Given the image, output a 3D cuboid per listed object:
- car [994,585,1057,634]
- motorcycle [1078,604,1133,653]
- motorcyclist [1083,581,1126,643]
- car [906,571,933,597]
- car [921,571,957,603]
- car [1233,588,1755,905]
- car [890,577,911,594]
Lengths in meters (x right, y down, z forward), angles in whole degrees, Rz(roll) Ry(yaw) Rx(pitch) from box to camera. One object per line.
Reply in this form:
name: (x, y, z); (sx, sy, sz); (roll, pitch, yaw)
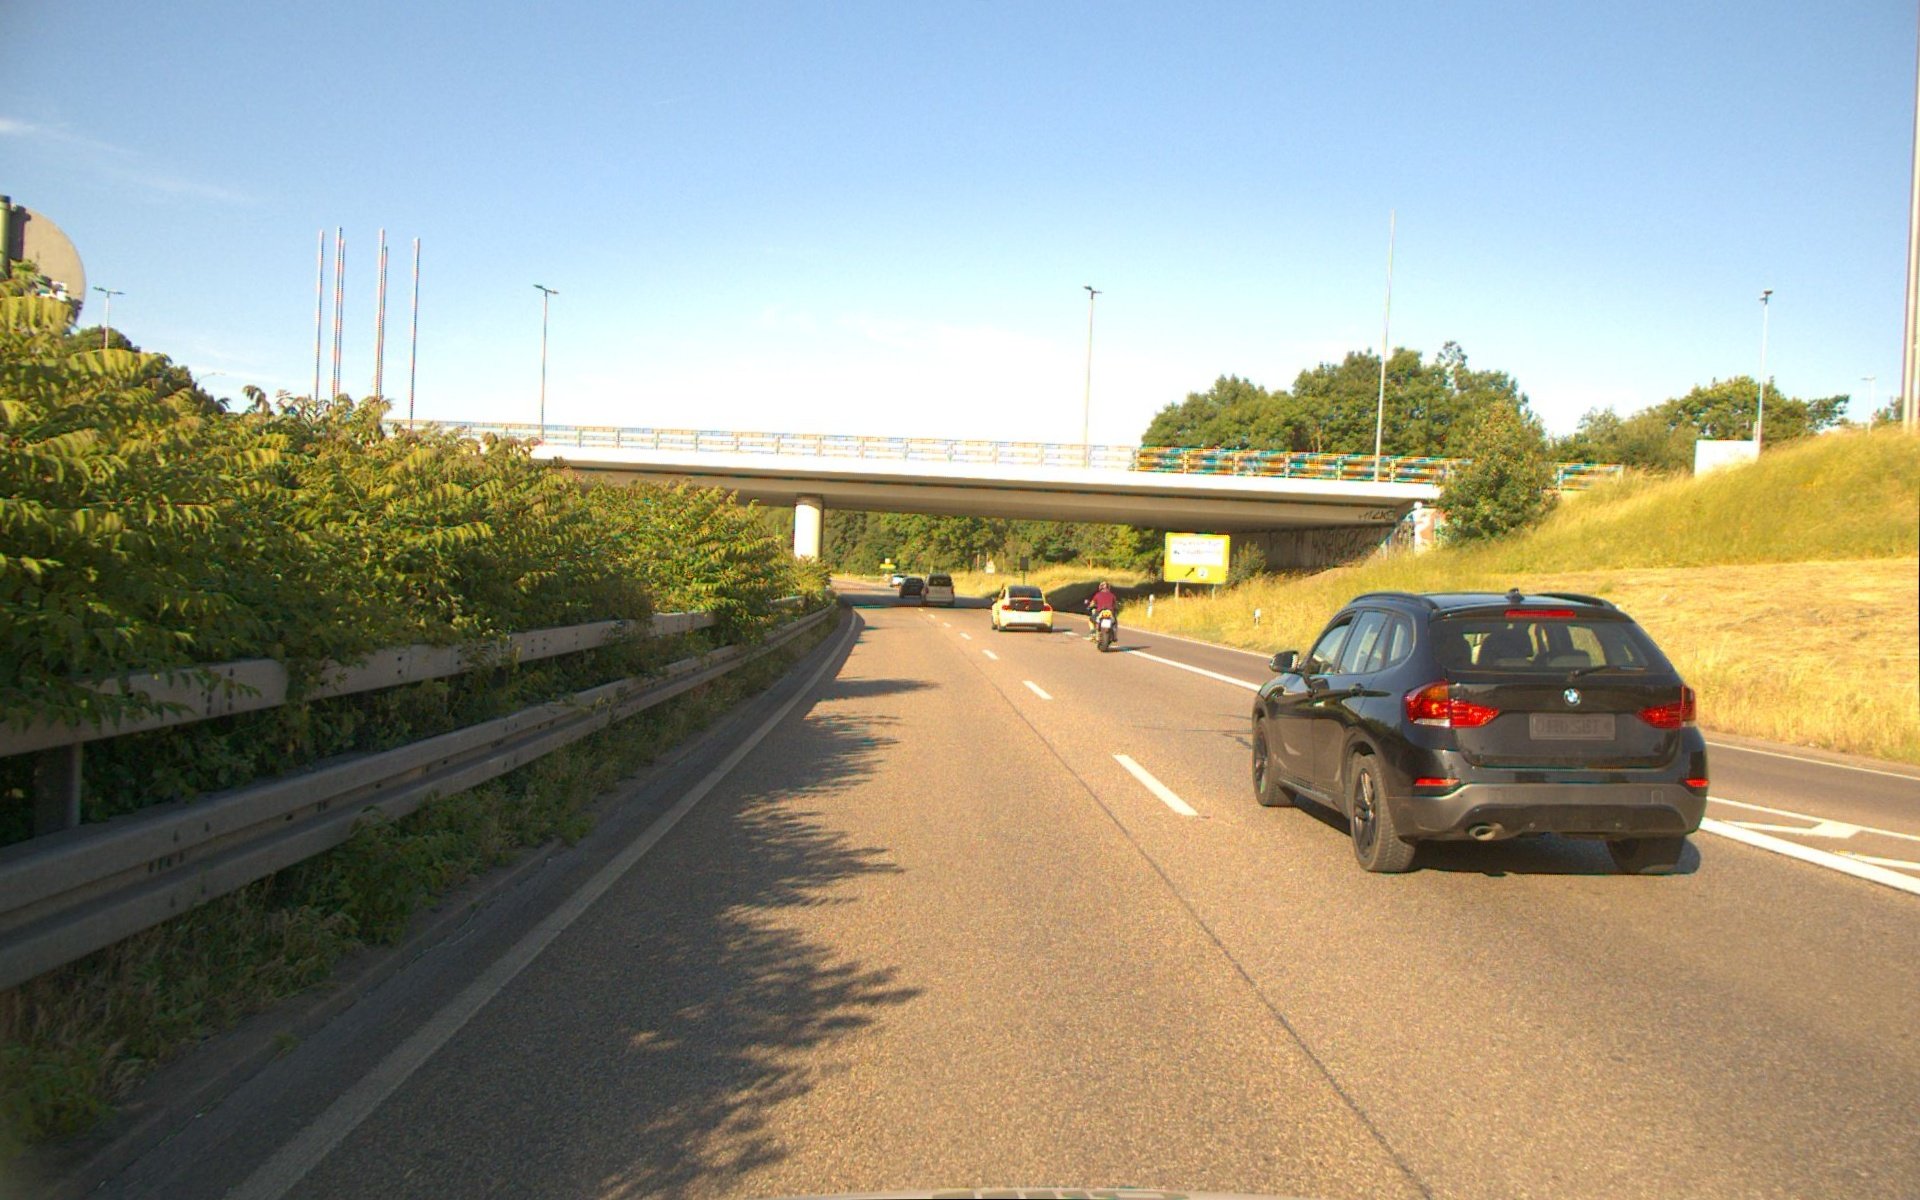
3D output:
car: (2.110, 0.283, 54.446); (1.858, 1.496, 3.999); (1, 0, -1)
motorcycle: (3.497, 0.667, 40.000); (0.801, 1.088, 2.832); (1, 1, -6)
motorcyclist: (3.498, 0.284, 40.071); (0.801, 1.472, 1.092); (1, 0, -6)
car: (-2.872, -1.126, 116.934); (1.859, 1.797, 3.999); (1, 1, -2)
car: (-1.226, -0.733, 94.818); (1.860, 1.798, 3.997); (0, 0, -4)
car: (3.036, 0.705, 10.500); (1.665, 1.532, 4.577); (0, 1, -3)
car: (-6.455, -1.571, 178.546); (1.834, 1.714, 3.993); (3, 0, -8)
